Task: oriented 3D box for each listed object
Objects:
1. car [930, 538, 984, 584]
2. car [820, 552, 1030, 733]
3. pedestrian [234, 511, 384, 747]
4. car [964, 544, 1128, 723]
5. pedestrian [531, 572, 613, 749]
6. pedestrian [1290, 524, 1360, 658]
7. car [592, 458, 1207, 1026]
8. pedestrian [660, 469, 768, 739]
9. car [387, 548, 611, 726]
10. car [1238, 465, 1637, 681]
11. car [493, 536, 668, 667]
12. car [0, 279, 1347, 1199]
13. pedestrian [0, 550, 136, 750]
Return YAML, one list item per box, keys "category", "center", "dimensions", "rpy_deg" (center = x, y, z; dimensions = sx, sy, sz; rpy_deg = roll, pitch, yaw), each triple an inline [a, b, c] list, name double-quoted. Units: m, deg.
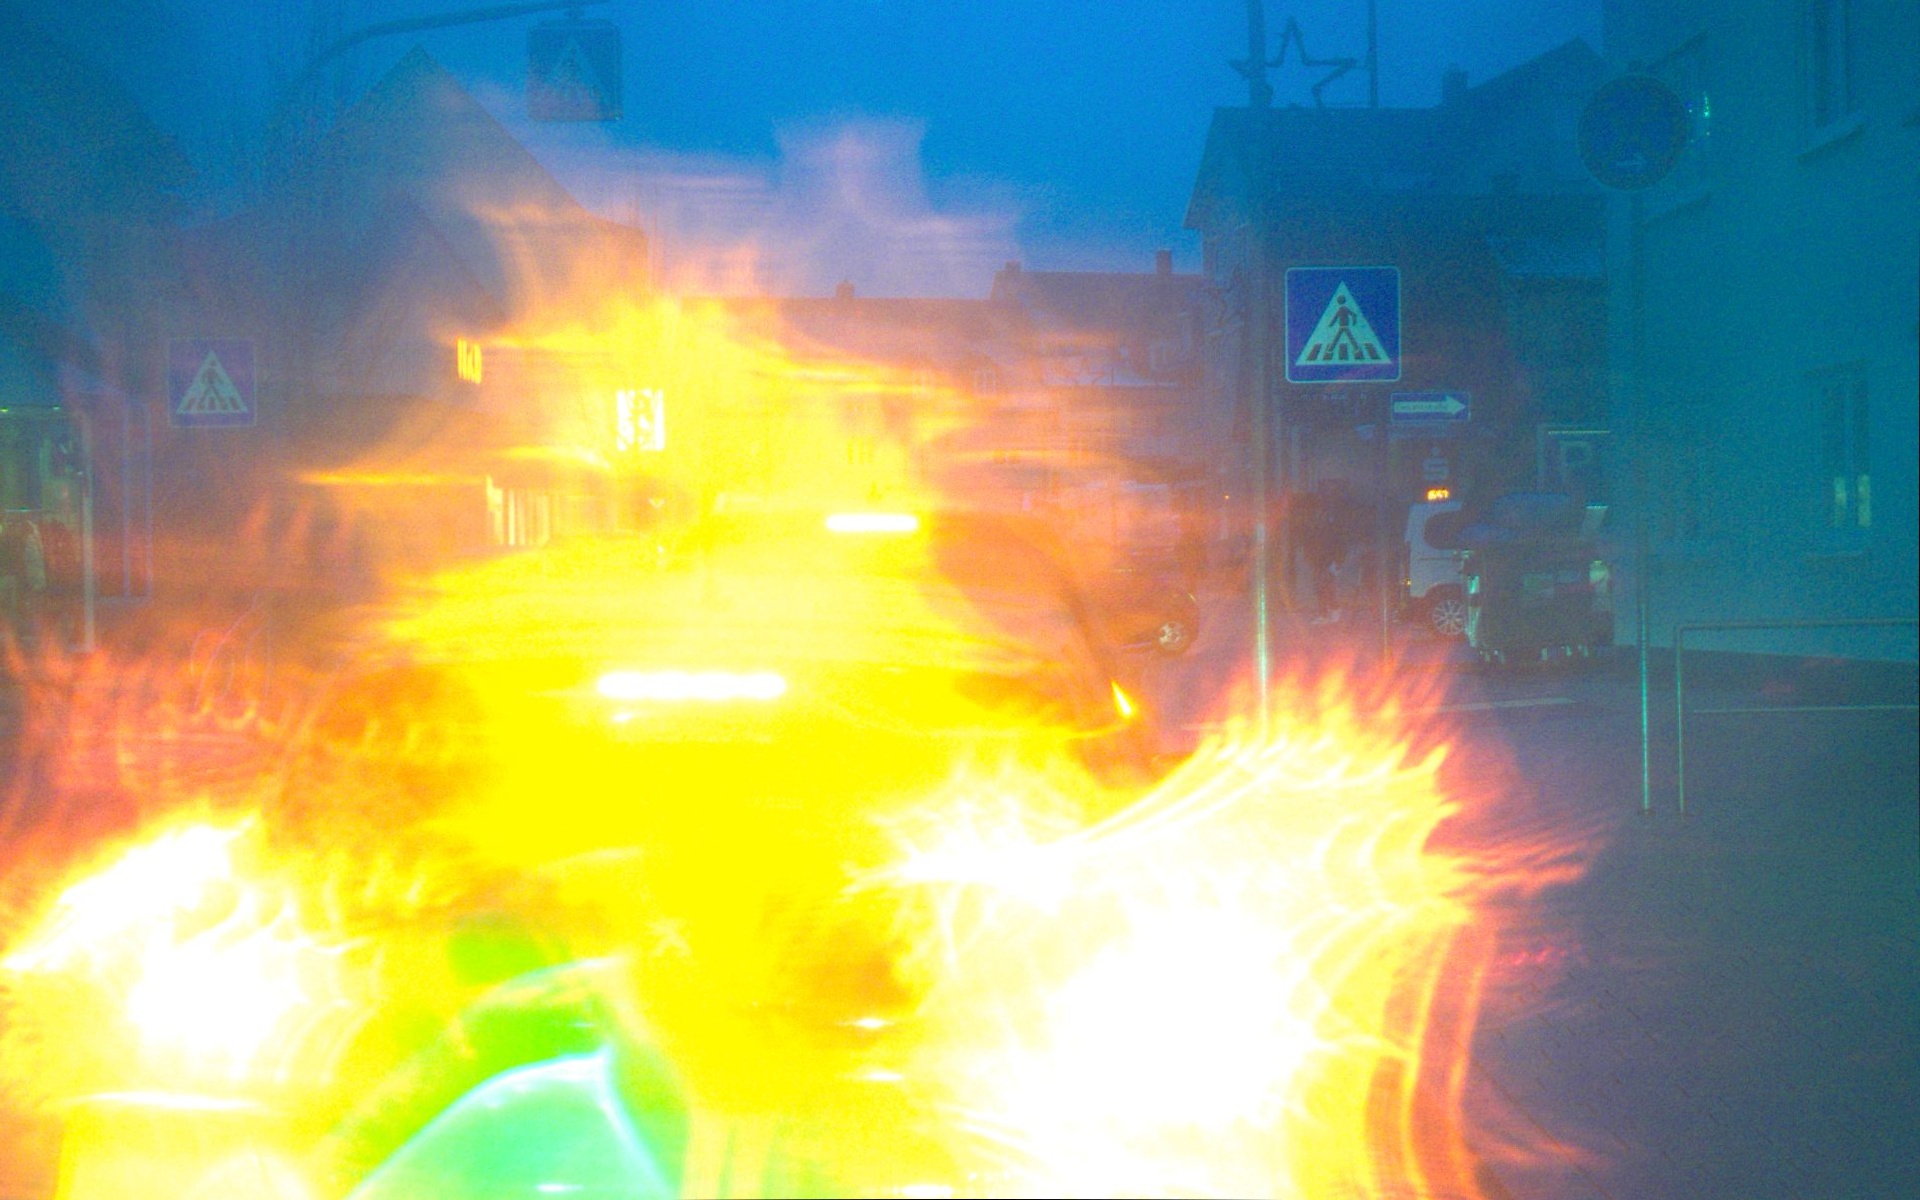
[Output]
- category: "car"
  center: [-0.079, -1.251, 109.100]
  dimensions: [1.534, 1.241, 3.647]
  rpy_deg: [-5, 2, 1]
- category: "car"
  center: [-0.266, 0.344, 32.798]
  dimensions: [1.827, 1.596, 4.581]
  rpy_deg: [0, 1, 2]
- category: "pedestrian"
  center: [-4.915, 0.205, 26.014]
  dimensions: [0.973, 1.736, 0.961]
  rpy_deg: [1, 2, -3]
- category: "car"
  center: [1.004, 0.360, 41.986]
  dimensions: [1.641, 2.007, 4.001]
  rpy_deg: [-2, 1, -3]
- category: "pedestrian"
  center: [-2.723, 0.419, 24.154]
  dimensions: [0.553, 1.229, 0.434]
  rpy_deg: [0, 1, -4]
- category: "pedestrian"
  center: [5.498, -0.144, 51.900]
  dimensions: [1.016, 2.007, 1.275]
  rpy_deg: [0, 1, 5]
- category: "car"
  center: [-0.151, 0.399, 12.112]
  dimensions: [1.798, 1.656, 4.000]
  rpy_deg: [0, 0, 1]
- category: "pedestrian"
  center: [-1.736, 0.020, 24.238]
  dimensions: [0.703, 1.870, 0.617]
  rpy_deg: [1, 2, -7]
- category: "car"
  center: [-5.446, 0.385, 41.148]
  dimensions: [1.993, 2.007, 4.361]
  rpy_deg: [0, 1, 1]
- category: "car"
  center: [4.596, -0.264, 33.508]
  dimensions: [3.697, 2.007, 1.689]
  rpy_deg: [1, 0, 3]
- category: "car"
  center: [-5.248, -0.013, 48.062]
  dimensions: [1.993, 1.746, 4.361]
  rpy_deg: [0, 1, 0]
- category: "car"
  center: [-0.452, 0.467, 6.360]
  dimensions: [1.994, 1.789, 4.648]
  rpy_deg: [0, 2, 2]
- category: "pedestrian"
  center: [-6.889, 0.374, 26.143]
  dimensions: [0.890, 1.413, 0.776]
  rpy_deg: [6, 0, 4]
